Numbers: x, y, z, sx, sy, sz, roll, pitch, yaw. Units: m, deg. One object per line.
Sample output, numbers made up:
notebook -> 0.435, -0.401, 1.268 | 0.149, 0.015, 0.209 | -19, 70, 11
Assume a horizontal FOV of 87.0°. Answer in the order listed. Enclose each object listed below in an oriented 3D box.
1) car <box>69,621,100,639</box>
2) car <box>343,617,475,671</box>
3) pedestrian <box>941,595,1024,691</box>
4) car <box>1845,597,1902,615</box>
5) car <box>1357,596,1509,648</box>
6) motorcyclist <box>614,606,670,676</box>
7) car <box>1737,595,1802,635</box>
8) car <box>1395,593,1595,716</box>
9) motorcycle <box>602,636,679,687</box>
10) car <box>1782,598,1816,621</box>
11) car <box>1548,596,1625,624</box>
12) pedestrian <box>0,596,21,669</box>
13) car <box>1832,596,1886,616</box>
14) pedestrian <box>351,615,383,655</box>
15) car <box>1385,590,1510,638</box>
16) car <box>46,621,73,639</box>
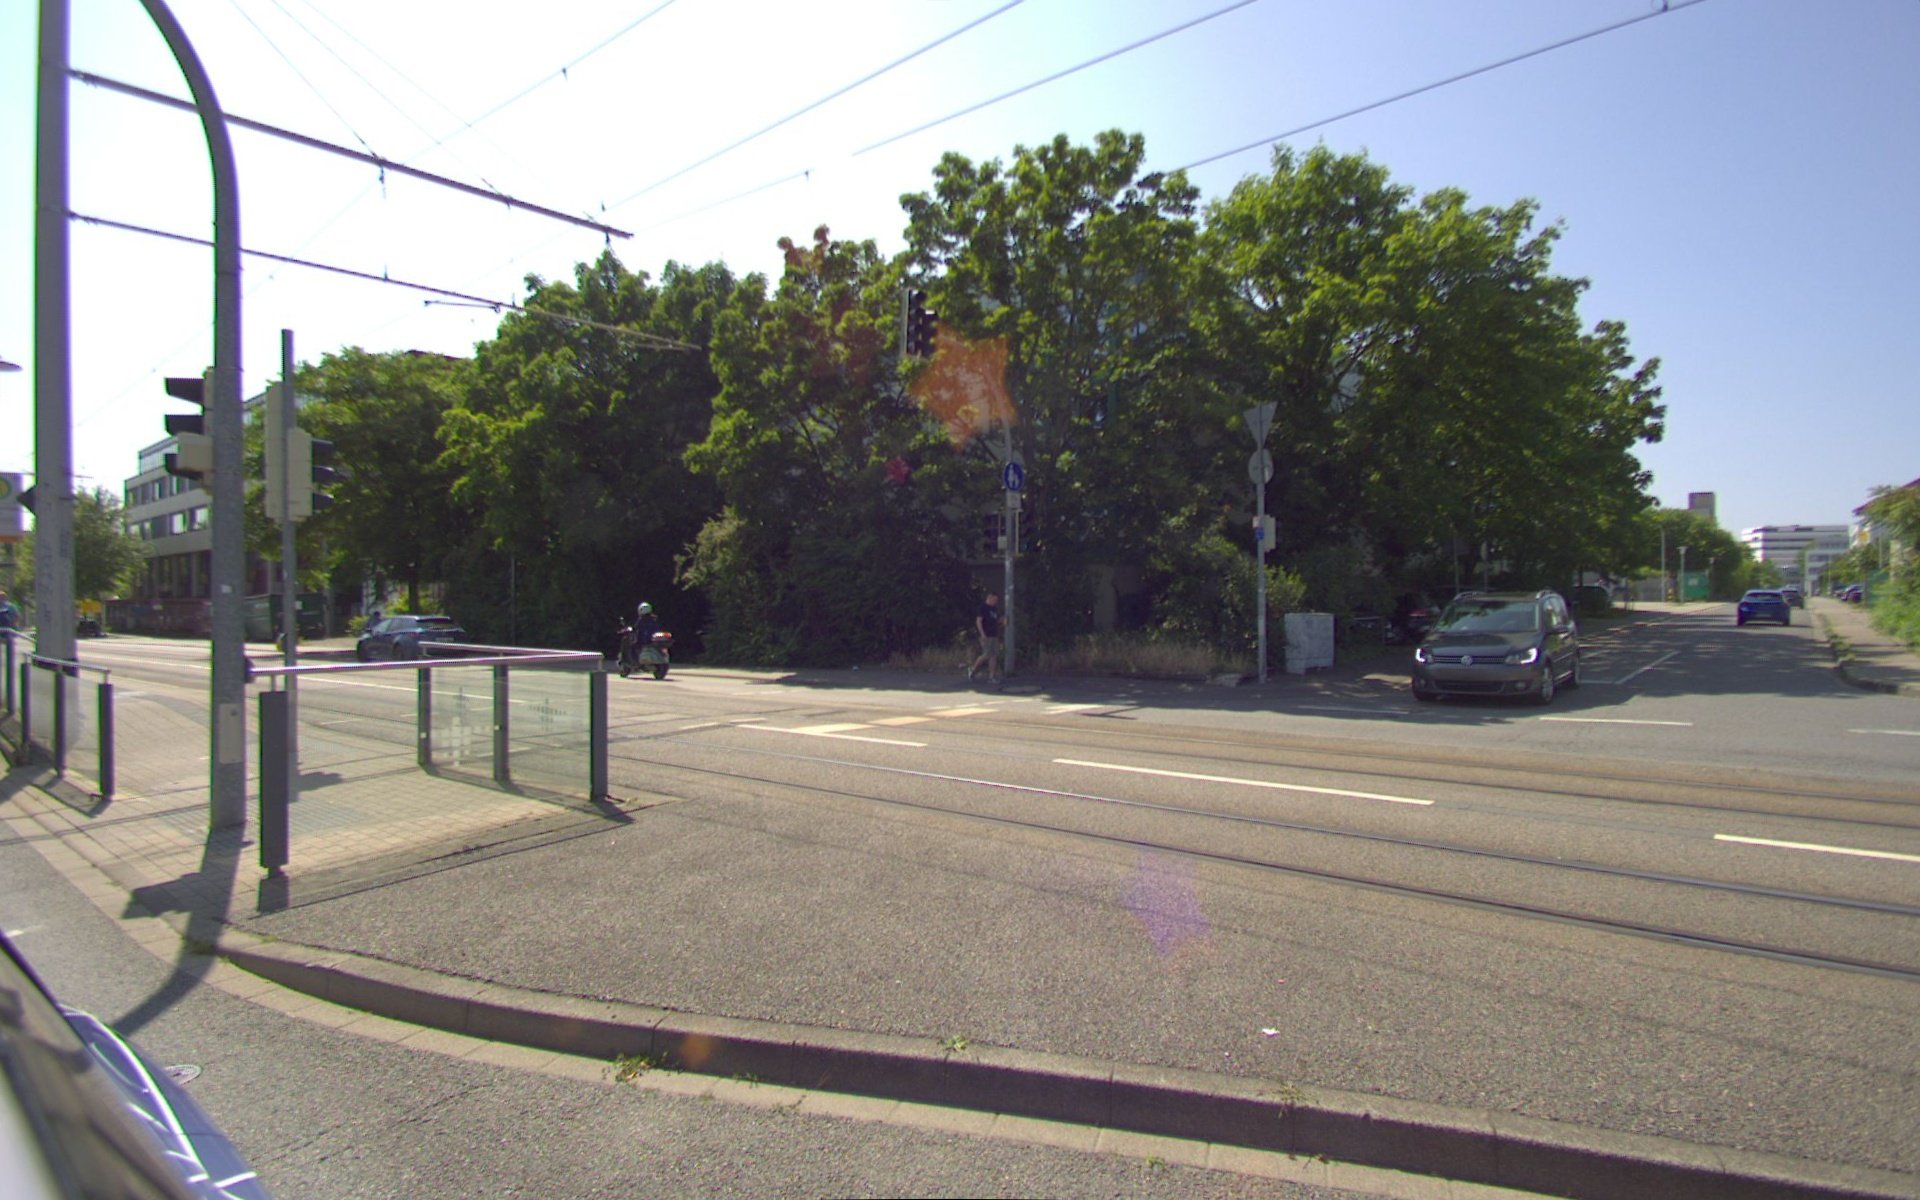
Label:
car -> -79.248, 2.713, 91.618 | 1.969, 1.635, 4.004 | 2, -2, -42
car -> -16.291, 1.281, 29.837 | 4.592, 1.453, 1.887 | -1, -3, 40
pedestrian -> 0.414, 0.791, 18.936 | 1.159, 1.682, 0.877 | -2, 3, 40
car -> 75.697, 0.503, 83.912 | 3.430, 1.437, 1.332 | -1, -1, 41
car -> 13.890, 0.653, 29.939 | 3.834, 1.478, 1.617 | -1, -1, 17
motorcyclist -> -6.916, 0.876, 22.004 | 0.826, 1.486, 0.963 | 0, -1, -44
car -> 33.264, 0.614, 41.542 | 1.806, 1.548, 4.103 | -1, -1, 43
car -> 8.405, 0.729, 15.718 | 1.931, 1.595, 4.136 | -1, 0, 40
motorcycle -> -6.995, 1.318, 22.080 | 0.813, 1.019, 1.965 | 0, -1, -44
car -> 60.060, 0.661, 72.413 | 1.805, 1.614, 3.946 | -1, -1, 40
car -> 37.291, 0.618, 60.290 | 3.692, 1.619, 1.553 | -1, -1, 40
pedestrian -> -23.058, 0.777, 24.244 | 0.944, 1.738, 0.716 | -2, -1, 40
car -> 91.413, 0.610, 102.959 | 3.998, 2.029, 1.973 | -1, -1, 41
pedestrian -> -23.166, 1.362, 39.532 | 0.845, 1.538, 0.862 | -1, -1, 39
car -> 17.553, 0.508, 36.488 | 3.858, 1.650, 1.606 | -1, -1, 35
car -> -85.406, 2.847, 95.960 | 1.844, 1.630, 4.004 | 2, -2, -42
